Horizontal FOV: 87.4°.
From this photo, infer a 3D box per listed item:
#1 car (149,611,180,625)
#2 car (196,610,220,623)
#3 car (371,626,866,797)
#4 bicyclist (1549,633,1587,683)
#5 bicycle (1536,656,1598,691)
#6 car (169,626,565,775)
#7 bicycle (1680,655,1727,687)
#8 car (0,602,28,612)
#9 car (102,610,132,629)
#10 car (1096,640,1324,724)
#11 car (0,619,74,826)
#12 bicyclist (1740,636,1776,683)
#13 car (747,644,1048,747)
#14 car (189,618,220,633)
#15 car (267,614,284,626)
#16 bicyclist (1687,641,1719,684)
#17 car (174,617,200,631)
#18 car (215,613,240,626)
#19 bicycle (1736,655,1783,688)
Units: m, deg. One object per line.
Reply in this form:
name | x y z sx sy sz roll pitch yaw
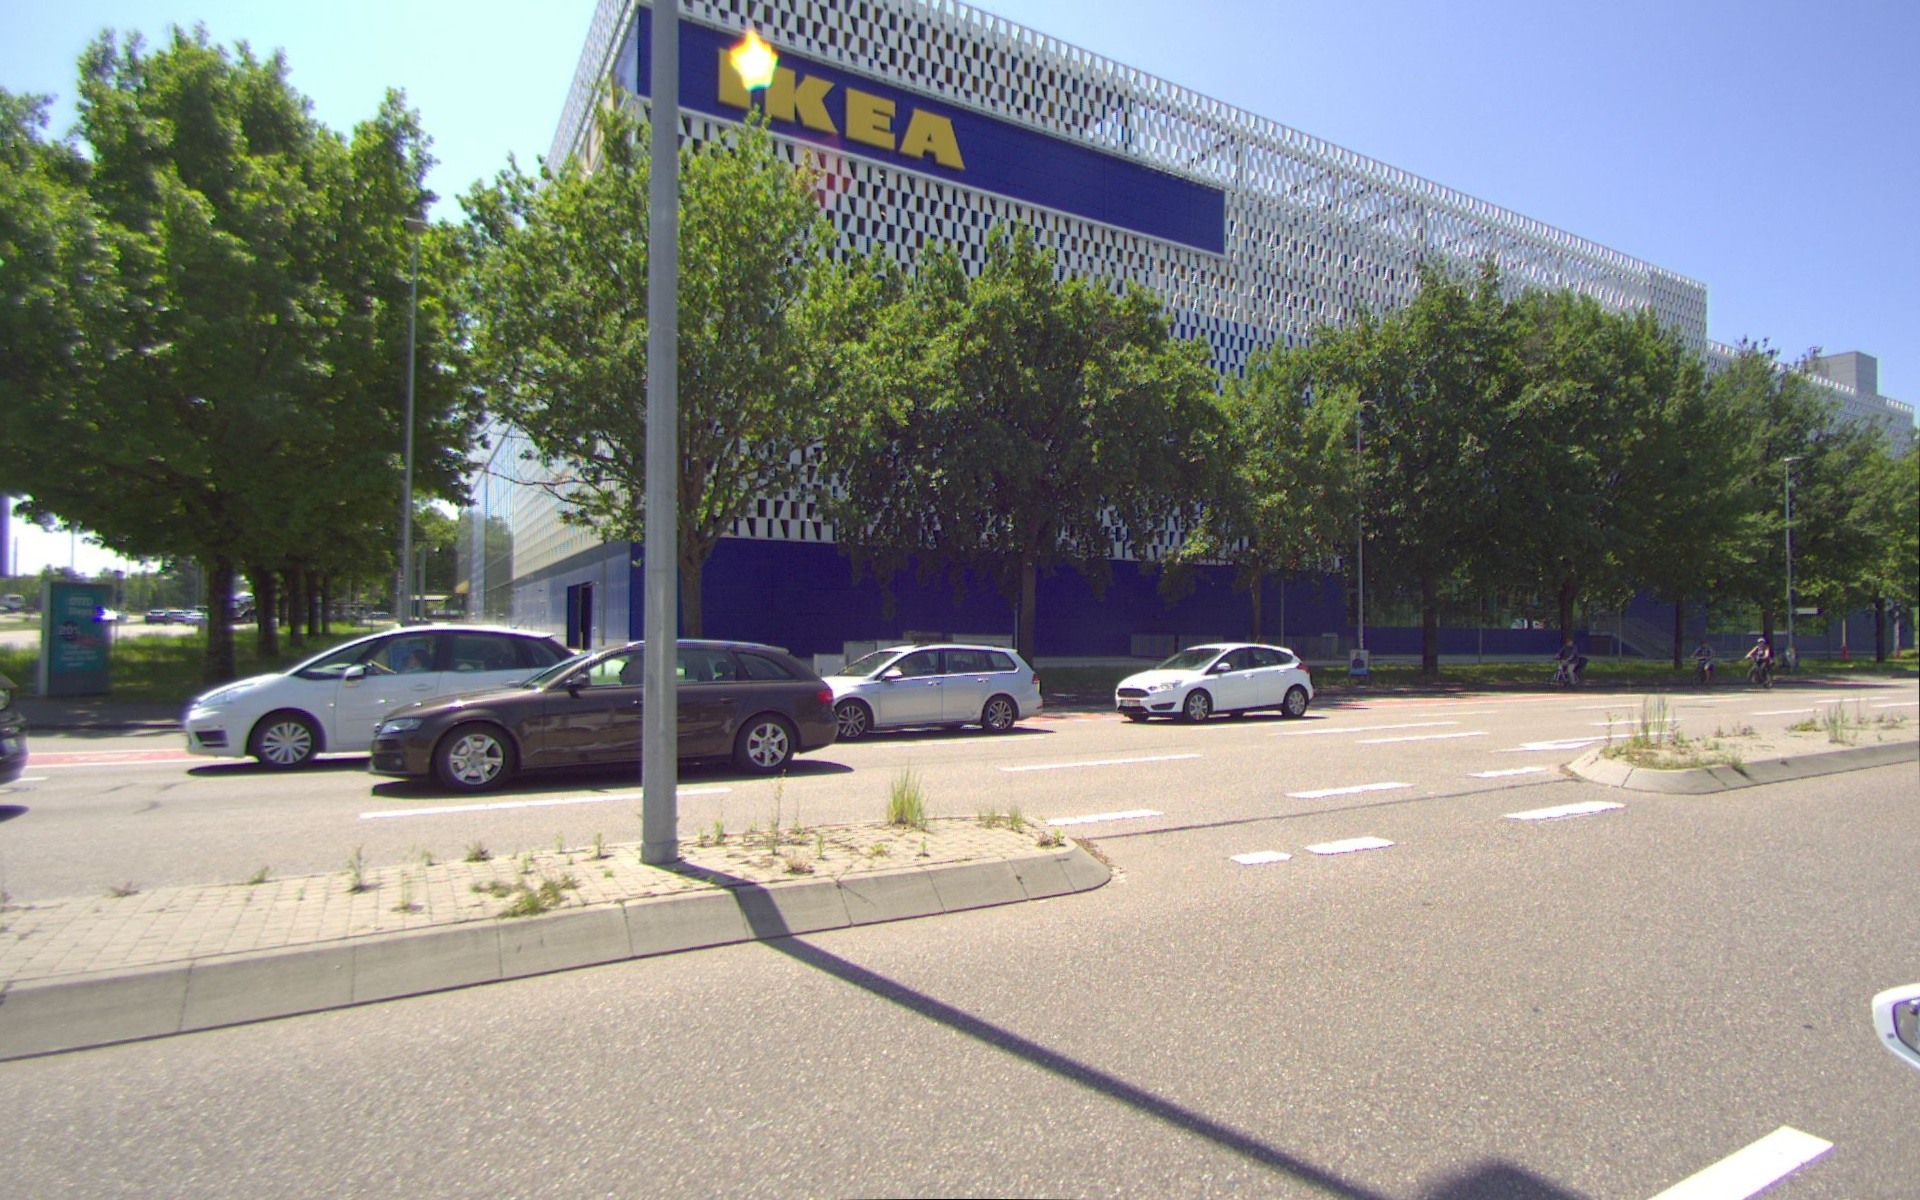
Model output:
car | -86.076 1.958 108.756 1.900 1.572 3.584 1 -2 -26
car | -96.238 2.122 128.599 1.830 1.647 3.771 1 -2 -27
car | -3.466 1.082 10.600 4.664 1.464 1.719 2 -4 -30
bicyclist | 21.281 2.026 35.169 0.940 1.708 0.742 1 -1 -27
bicycle | 21.251 2.562 35.142 2.404 1.140 0.736 1 -2 -28
car | -7.023 1.145 12.262 3.870 1.564 1.718 2 -3 -31
bicycle | 27.891 2.639 37.676 1.946 1.148 0.635 2 -2 -28
car | -134.153 0.976 141.558 3.975 1.441 1.679 2 -2 -39
car | -93.760 2.215 111.759 1.794 2.040 3.970 1 -2 -29
car | 4.884 1.545 19.410 4.403 1.464 1.718 2 -4 -32
car | -9.286 0.883 7.097 4.193 1.524 1.719 2 -4 -30
bicyclist | 28.895 2.152 36.370 1.033 1.650 0.630 2 -3 -31
car | -0.935 1.432 16.113 4.571 1.441 1.737 1 -3 -31
car | -81.674 2.720 108.669 1.975 1.572 3.972 1 -2 -28
car | -96.672 2.831 141.885 1.533 1.572 3.398 1 -2 -26
bicyclist | 27.845 2.336 37.653 0.873 1.603 0.634 1 -2 -28
car | -88.448 2.722 114.977 1.624 1.572 3.398 1 -2 -26
car | -89.667 2.379 122.955 1.976 1.572 3.970 1 -2 -29
bicycle | 28.967 2.576 36.390 2.093 1.174 0.626 2 -4 -31
